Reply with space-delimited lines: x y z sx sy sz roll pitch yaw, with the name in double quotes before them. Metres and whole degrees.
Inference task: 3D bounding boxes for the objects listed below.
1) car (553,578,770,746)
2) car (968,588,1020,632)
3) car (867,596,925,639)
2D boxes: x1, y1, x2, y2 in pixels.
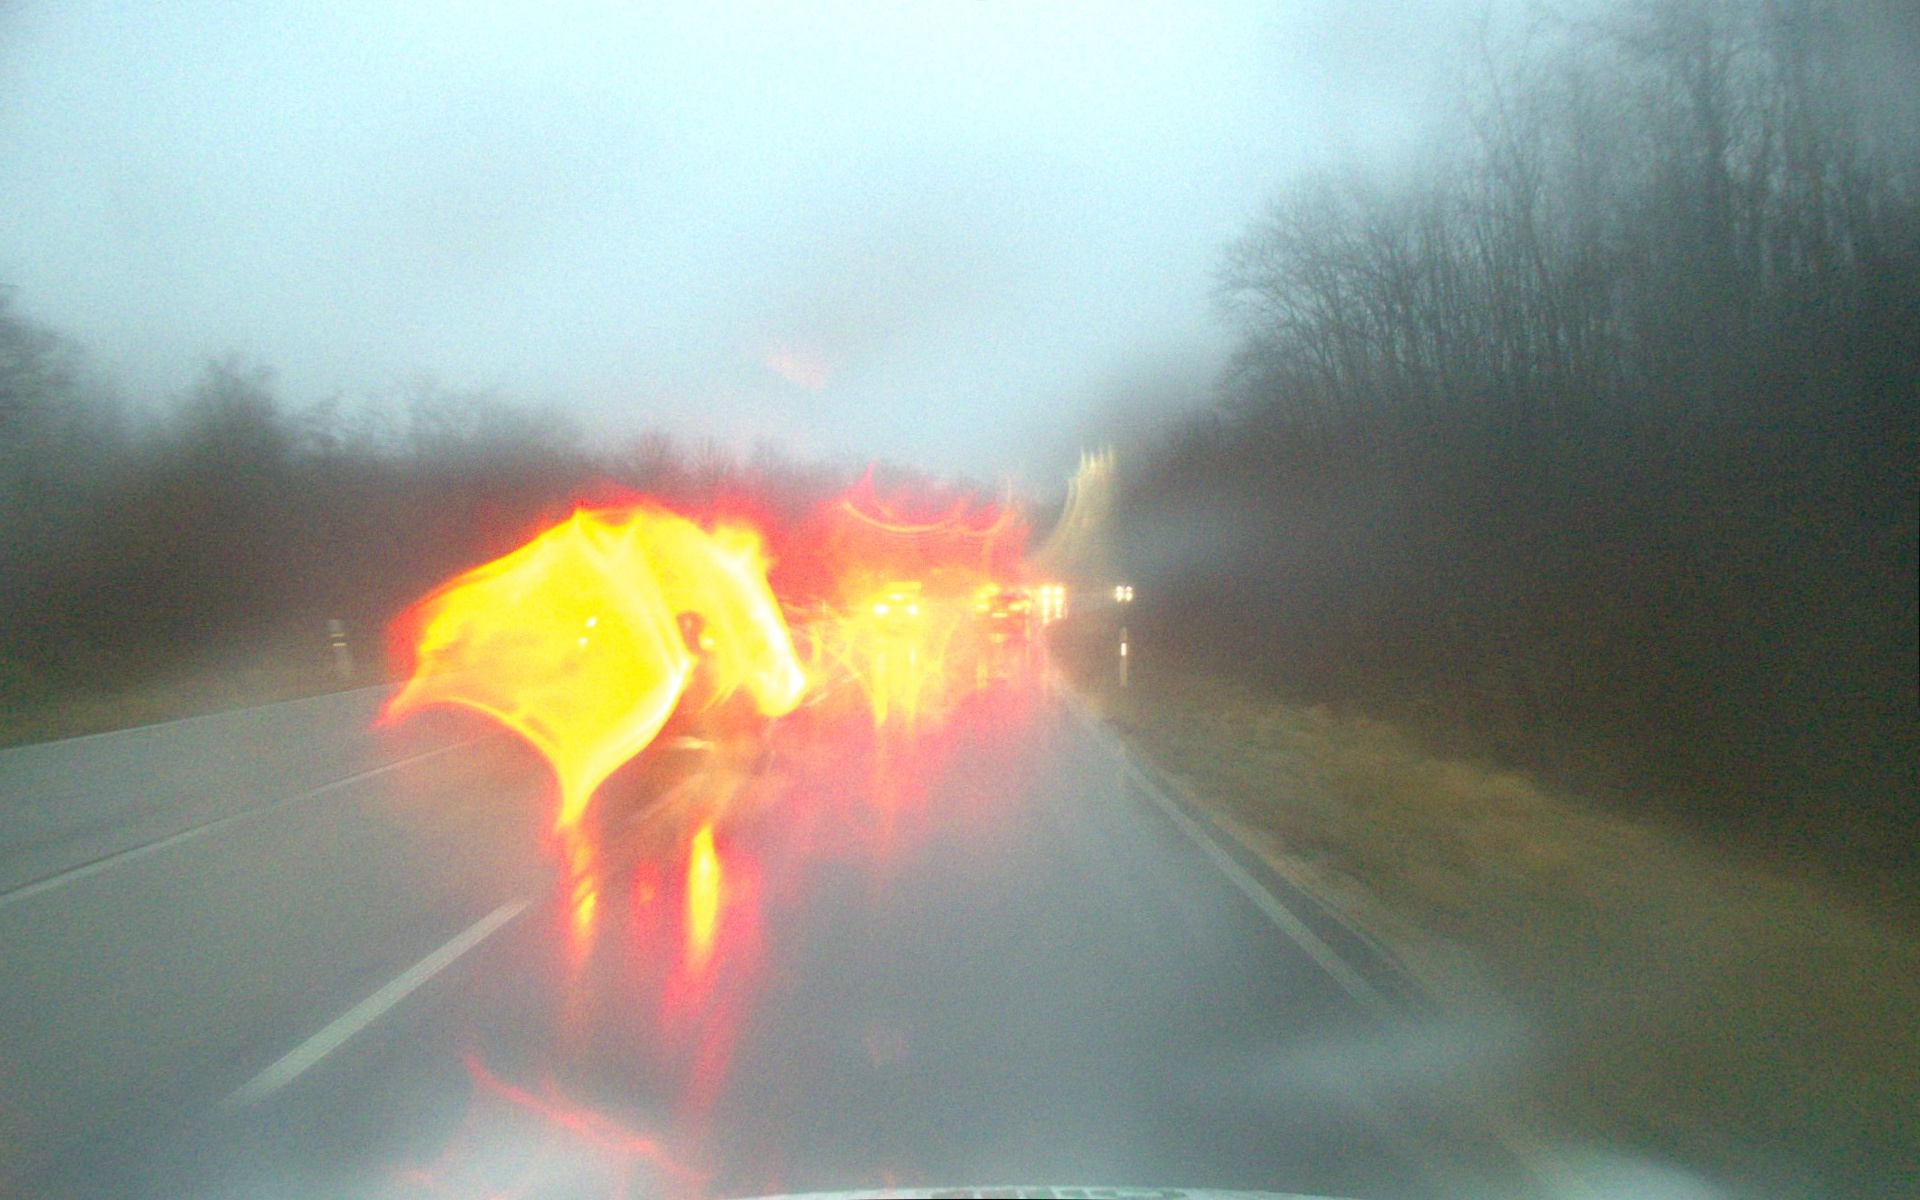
"car" -2.883 0.541 16.769 1.599 1.446 4.169 2 0 -3
"car" 1.217 0.320 57.207 1.643 1.414 4.100 0 1 3
"car" -2.497 0.656 65.332 1.963 1.583 4.518 1 0 1
